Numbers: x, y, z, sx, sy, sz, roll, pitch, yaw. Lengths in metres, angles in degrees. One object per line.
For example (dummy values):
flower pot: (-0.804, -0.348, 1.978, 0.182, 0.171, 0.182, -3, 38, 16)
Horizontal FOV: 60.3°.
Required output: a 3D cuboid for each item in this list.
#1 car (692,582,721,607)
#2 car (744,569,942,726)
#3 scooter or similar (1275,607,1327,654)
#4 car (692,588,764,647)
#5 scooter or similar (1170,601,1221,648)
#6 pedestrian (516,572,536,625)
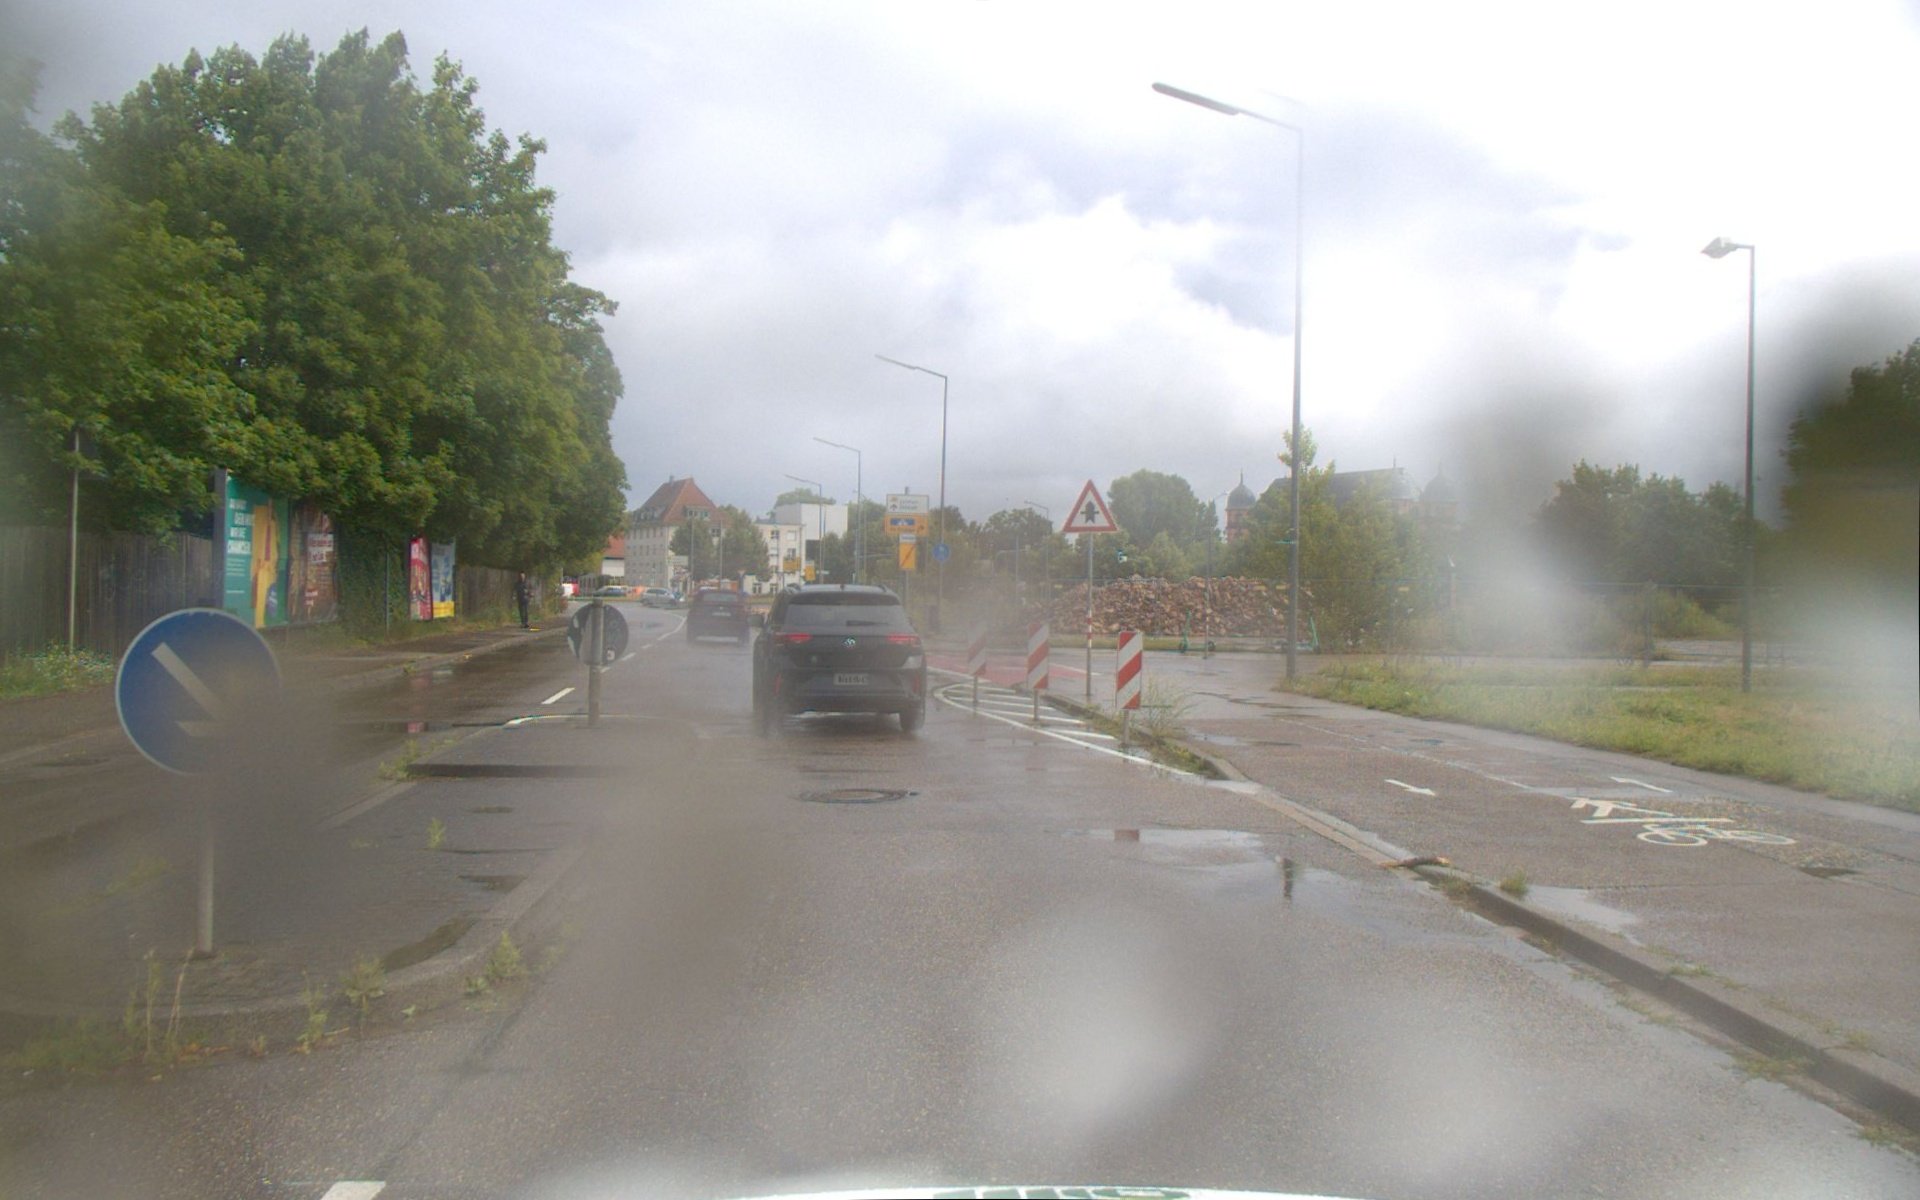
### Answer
car: (-17.971, -0.388, 117.086, 1.959, 1.732, 4.007, 1, 0, -9)
car: (-1.444, 0.480, 18.861, 1.950, 1.547, 3.992, -1, 0, -8)
scooter or similar: (9.484, 0.827, 45.998, 1.257, 1.207, 0.502, 4, 2, 32)
car: (-6.305, 0.479, 45.003, 1.807, 1.467, 3.992, -2, -1, -8)
scooter or similar: (6.661, 0.687, 46.780, 1.257, 1.207, 0.502, 4, 2, 32)
pedestrian: (-14.403, -0.048, 54.851, 0.514, 1.731, 0.565, 3, 2, -9)
